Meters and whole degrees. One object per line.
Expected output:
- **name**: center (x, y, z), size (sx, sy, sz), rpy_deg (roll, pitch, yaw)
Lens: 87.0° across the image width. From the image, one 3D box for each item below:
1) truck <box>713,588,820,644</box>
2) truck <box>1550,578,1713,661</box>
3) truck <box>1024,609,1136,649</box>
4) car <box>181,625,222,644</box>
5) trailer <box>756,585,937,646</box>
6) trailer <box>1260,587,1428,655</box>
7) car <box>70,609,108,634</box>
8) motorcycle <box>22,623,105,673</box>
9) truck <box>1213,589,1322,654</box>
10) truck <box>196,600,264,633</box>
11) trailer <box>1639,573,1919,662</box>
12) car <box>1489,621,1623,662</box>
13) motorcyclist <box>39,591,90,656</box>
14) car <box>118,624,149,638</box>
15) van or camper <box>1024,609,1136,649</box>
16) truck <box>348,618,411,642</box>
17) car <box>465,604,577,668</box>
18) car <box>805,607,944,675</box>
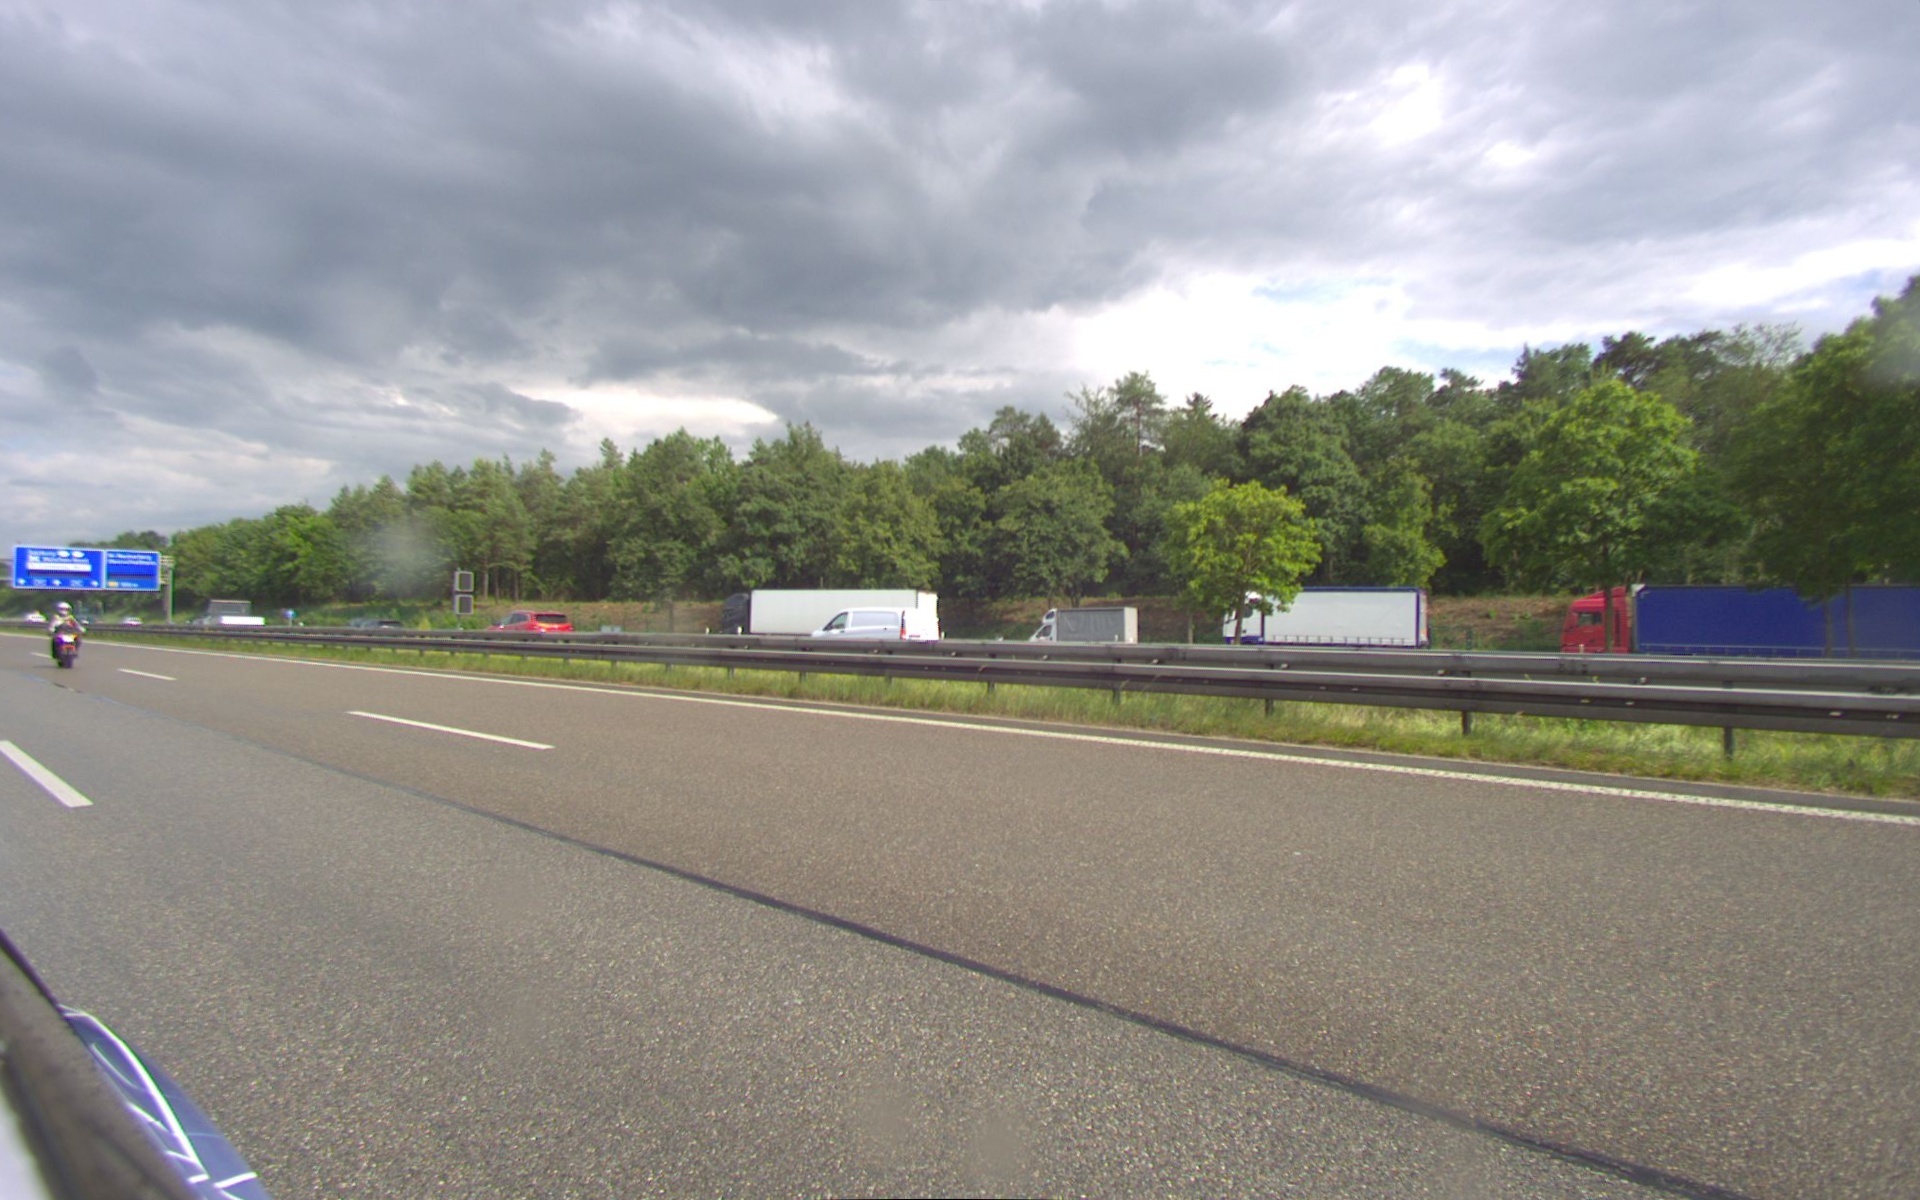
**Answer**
- **truck**: center (-13.508, 1.090, 70.648), size (6.884, 3.732, 3.188), rpy_deg (-1, 0, 28)
- **truck**: center (30.007, 0.815, 45.408), size (5.883, 3.482, 2.836), rpy_deg (-1, 0, 35)
- **truck**: center (7.077, 1.693, 59.962), size (6.291, 2.282, 2.104), rpy_deg (-1, 0, 29)
- **car**: center (-61.183, 2.774, 81.578), size (4.432, 1.403, 1.811), rpy_deg (0, 0, 42)
- **trailer**: center (-7.715, 1.052, 67.574), size (12.511, 3.767, 3.184), rpy_deg (-1, -1, 28)
- **trailer**: center (19.679, 1.061, 52.084), size (7.716, 3.257, 2.559), rpy_deg (-1, -1, 32)
- **car**: center (-116.815, 2.837, 135.673), size (7.342, 3.133, 2.913), rpy_deg (0, 0, 42)
- **motorcycle**: center (-24.312, 1.268, 27.421), size (3.191, 1.235, 1.173), rpy_deg (0, 0, 39)
- **truck**: center (16.427, 1.102, 54.046), size (5.069, 3.292, 2.634), rpy_deg (-1, 0, 32)
- **truck**: center (-44.133, 0.964, 61.139), size (5.445, 1.909, 2.233), rpy_deg (0, 0, 42)
- **trailer**: center (35.791, 0.724, 41.300), size (13.395, 3.431, 2.798), rpy_deg (-1, -1, 35)
- **car**: center (32.030, 2.180, 54.488), size (6.116, 2.029, 1.977), rpy_deg (0, 0, 34)
- **motorcyclist**: center (-24.300, 0.625, 27.464), size (1.000, 1.719, 0.872), rpy_deg (-1, 0, 39)
- **car**: center (-95.342, 3.534, 116.691), size (5.157, 1.403, 1.953), rpy_deg (0, 0, 42)
- **van or camper**: center (7.097, 1.693, 59.976), size (6.296, 2.282, 2.104), rpy_deg (-1, 0, 29)
- **truck**: center (-32.323, 1.631, 56.348), size (3.999, 1.203, 1.868), rpy_deg (0, 0, 42)
- **car**: center (-15.566, 1.208, 35.760), size (4.778, 2.060, 1.811), rpy_deg (0, 0, 42)
- **car**: center (-2.912, 1.294, 33.768), size (4.778, 2.060, 1.811), rpy_deg (0, 0, 42)
